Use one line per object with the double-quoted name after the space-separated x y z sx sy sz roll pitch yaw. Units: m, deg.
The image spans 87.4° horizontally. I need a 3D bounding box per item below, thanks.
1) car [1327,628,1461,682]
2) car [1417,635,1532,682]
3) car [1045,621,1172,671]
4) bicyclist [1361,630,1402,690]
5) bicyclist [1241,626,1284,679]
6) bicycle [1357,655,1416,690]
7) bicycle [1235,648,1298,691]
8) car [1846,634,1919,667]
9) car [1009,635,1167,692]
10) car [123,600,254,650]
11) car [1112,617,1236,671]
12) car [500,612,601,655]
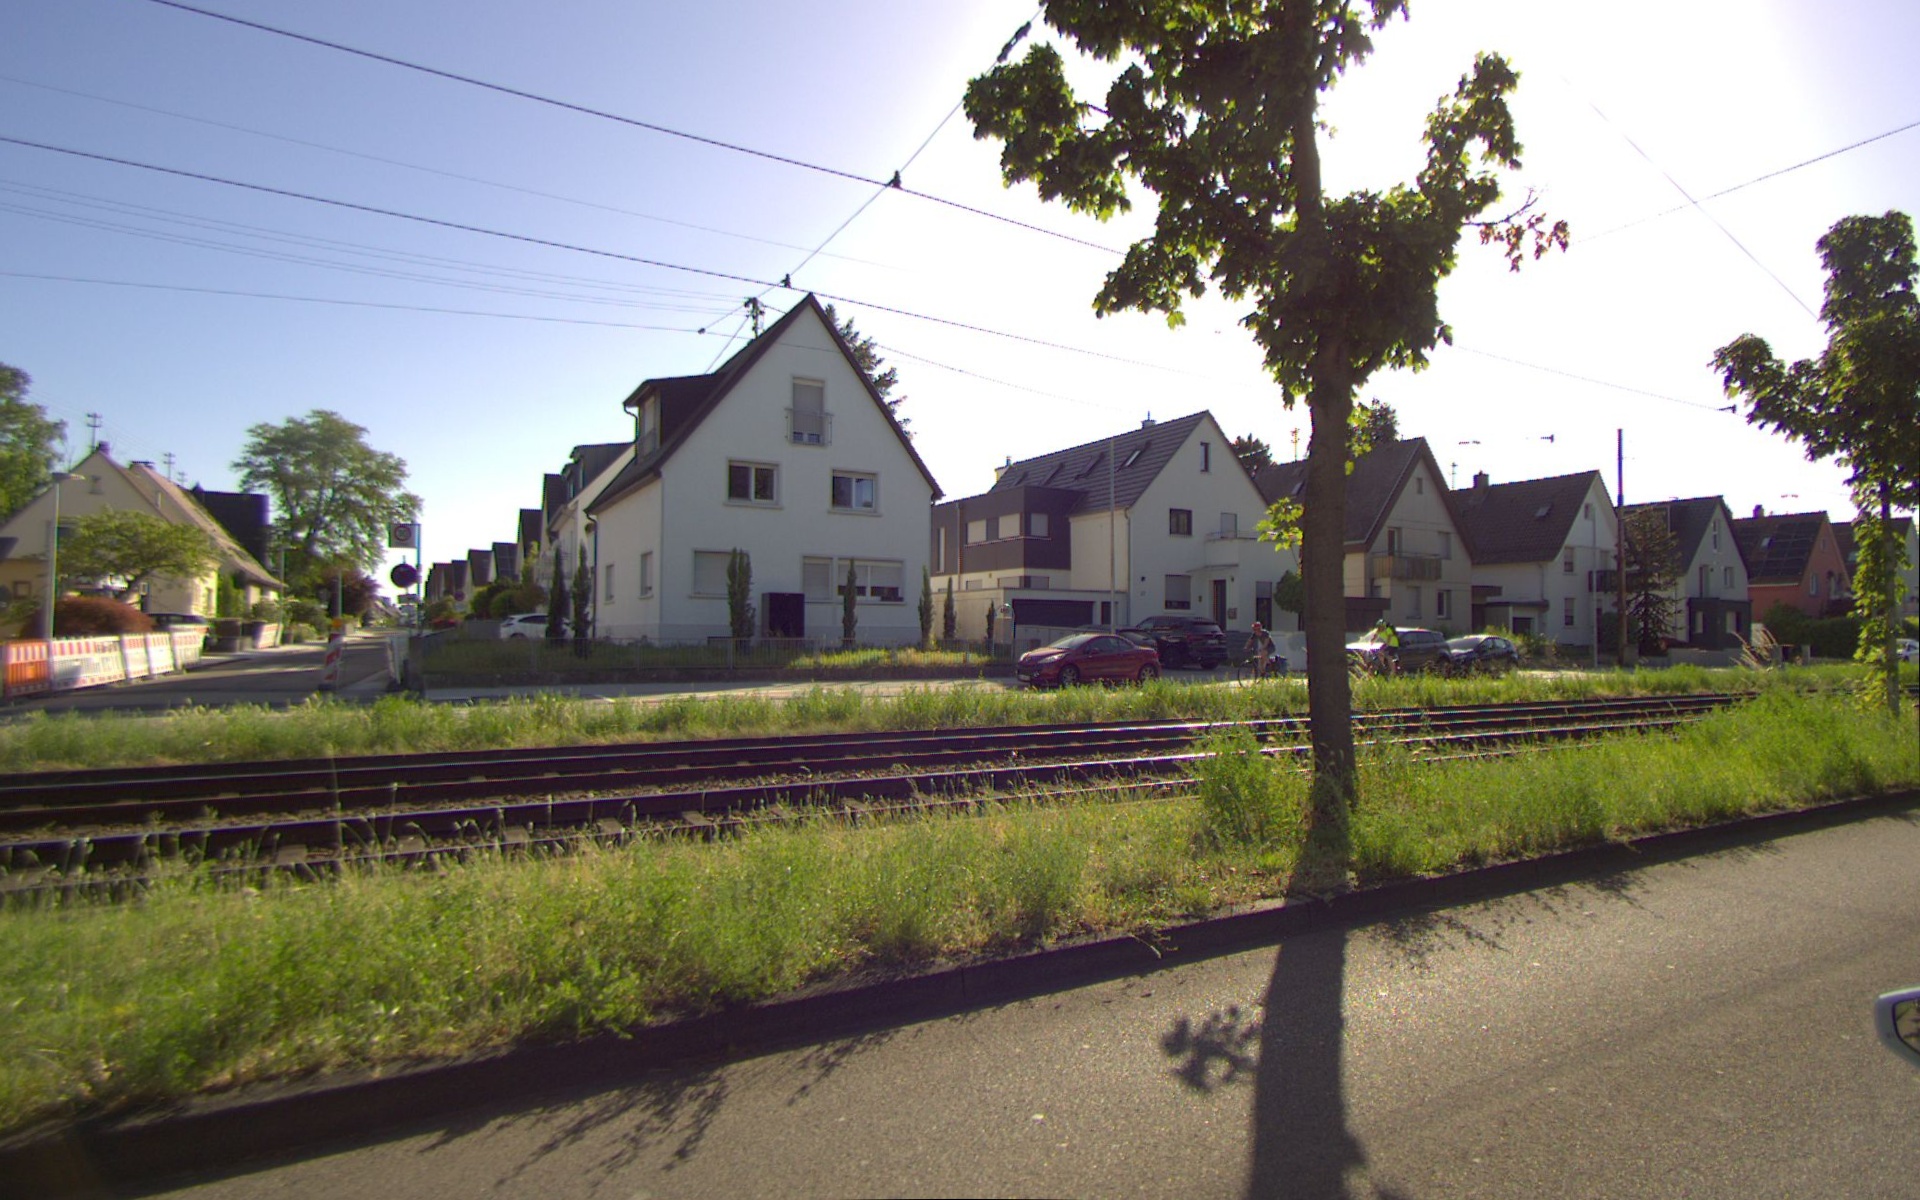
13.923 1.766 32.145 4.333 1.589 1.637 2 -1 -29 "car"
17.564 1.991 34.260 3.942 1.470 1.606 2 -1 -30 "car"
4.912 1.521 33.760 1.918 1.483 4.188 2 -1 -33 "car"
11.980 1.689 28.529 0.871 1.674 0.685 1 -1 -30 "bicyclist"
7.884 1.353 26.186 0.871 1.354 0.685 2 -2 -30 "bicyclist"
12.151 2.060 28.587 2.071 0.940 0.396 2 -1 -30 "bicycle"
7.970 1.787 26.097 1.857 1.084 0.396 2 -2 -30 "bicycle"
50.521 2.757 54.590 4.671 1.620 1.986 2 -1 -27 "car"
3.342 1.645 26.117 3.952 1.343 1.487 2 -1 -29 "car"
-34.100 1.118 44.564 4.282 2.040 1.985 2 -1 -29 "car"
7.380 1.489 34.959 1.979 1.691 3.963 2 -1 -33 "car"
-17.774 1.459 43.734 3.942 1.799 1.990 1 -1 -22 "car"
